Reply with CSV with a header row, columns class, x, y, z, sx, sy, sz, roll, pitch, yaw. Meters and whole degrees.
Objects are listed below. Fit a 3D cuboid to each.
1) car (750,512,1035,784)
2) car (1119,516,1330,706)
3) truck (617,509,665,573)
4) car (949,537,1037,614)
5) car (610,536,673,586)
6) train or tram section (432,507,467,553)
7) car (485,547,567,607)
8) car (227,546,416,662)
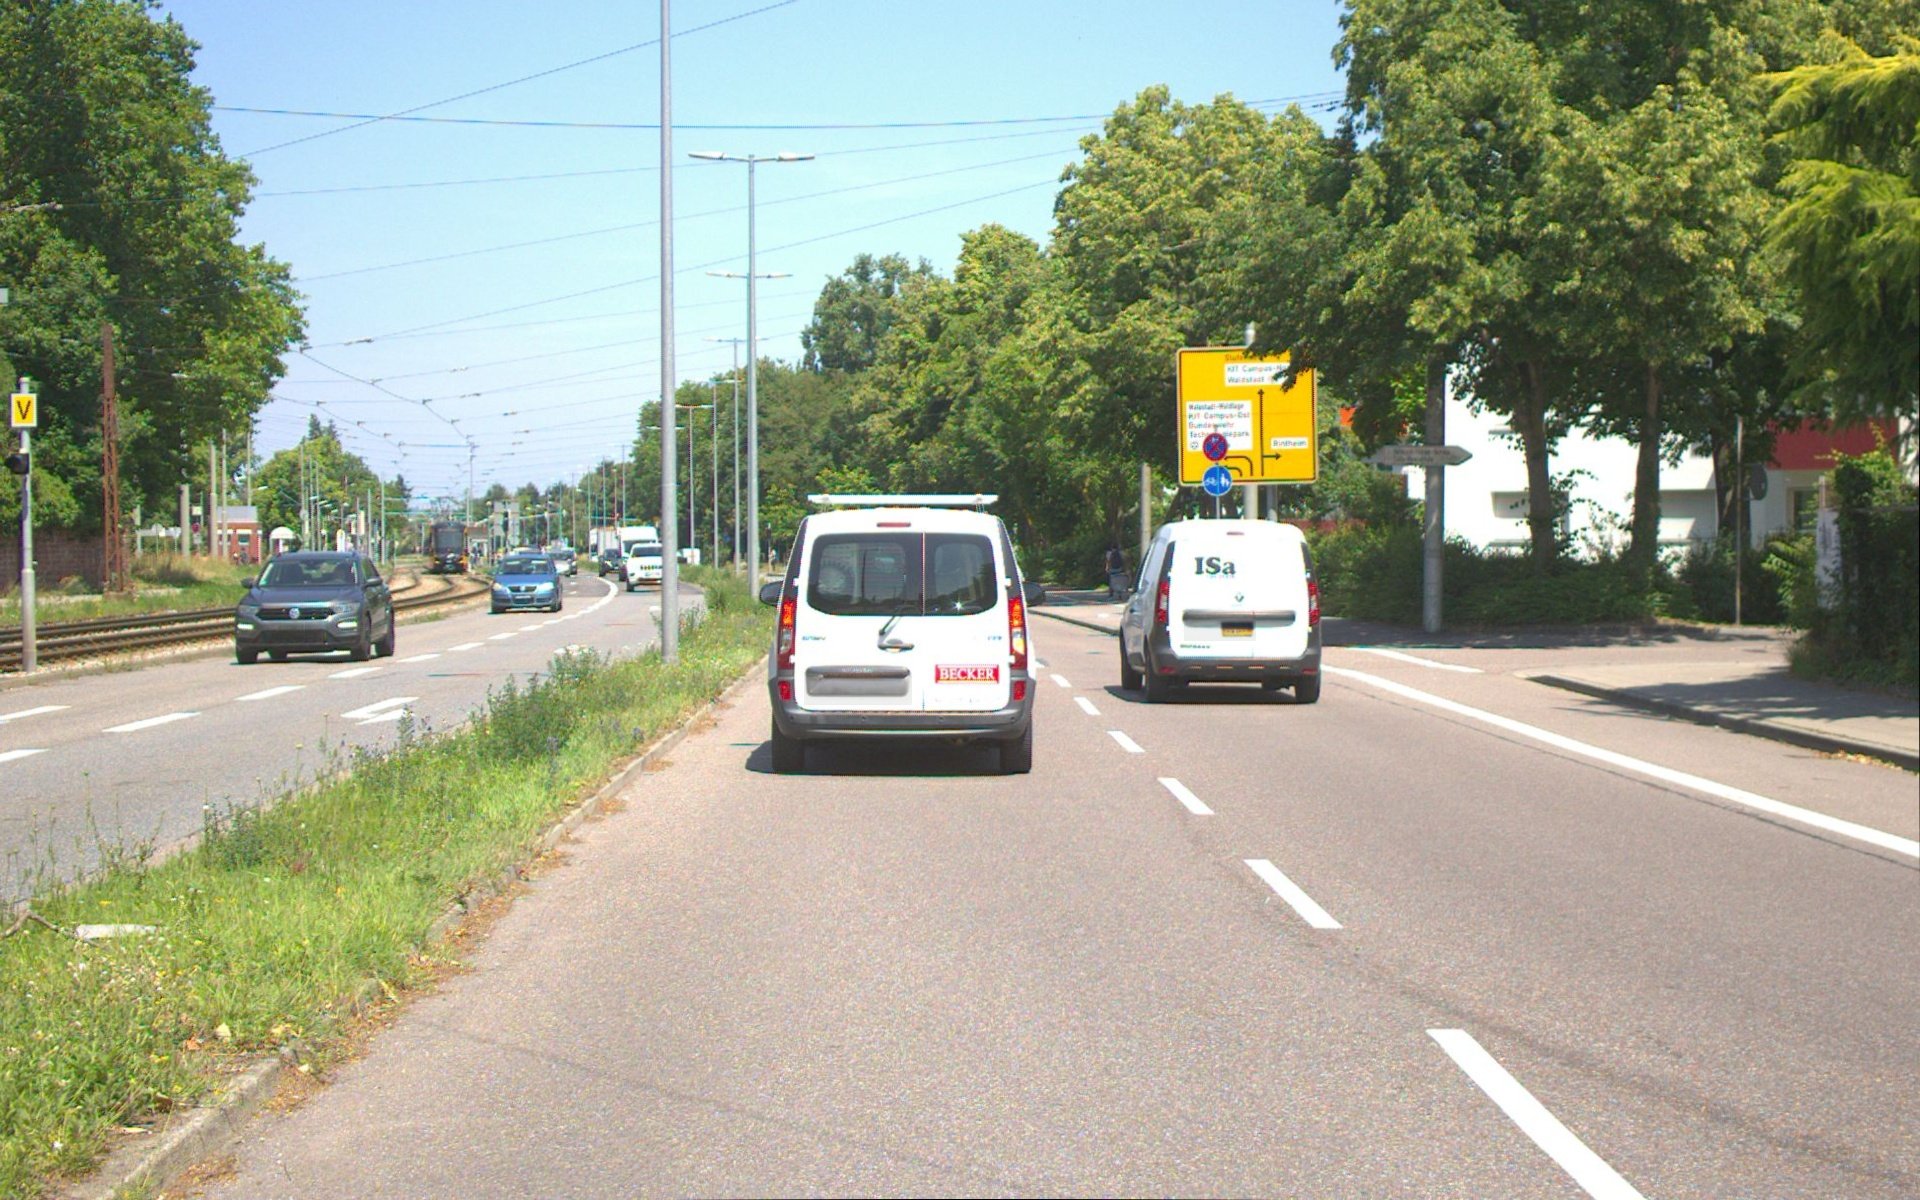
class,x,y,z,sx,sy,sz,roll,pitch,yaw
car,-0.441,0.262,24.437,1.821,1.733,4.396,1,1,0
car,2.626,0.071,34.916,1.727,1.782,4.065,1,1,-1
truck,-16.028,-2.978,172.981,1.993,3.202,5.312,0,1,-1
car,0.688,-0.560,74.926,1.835,1.563,4.000,1,2,0
car,-11.758,-1.454,127.109,1.993,1.809,4.000,0,1,-1
train or tram section,-35.520,-4.816,238.969,1.993,3.076,16.172,1,1,-10
car,-10.842,-0.589,86.134,1.697,1.434,4.001,-1,1,-2
car,-8.923,0.022,48.351,1.697,1.507,4.066,-1,1,3
